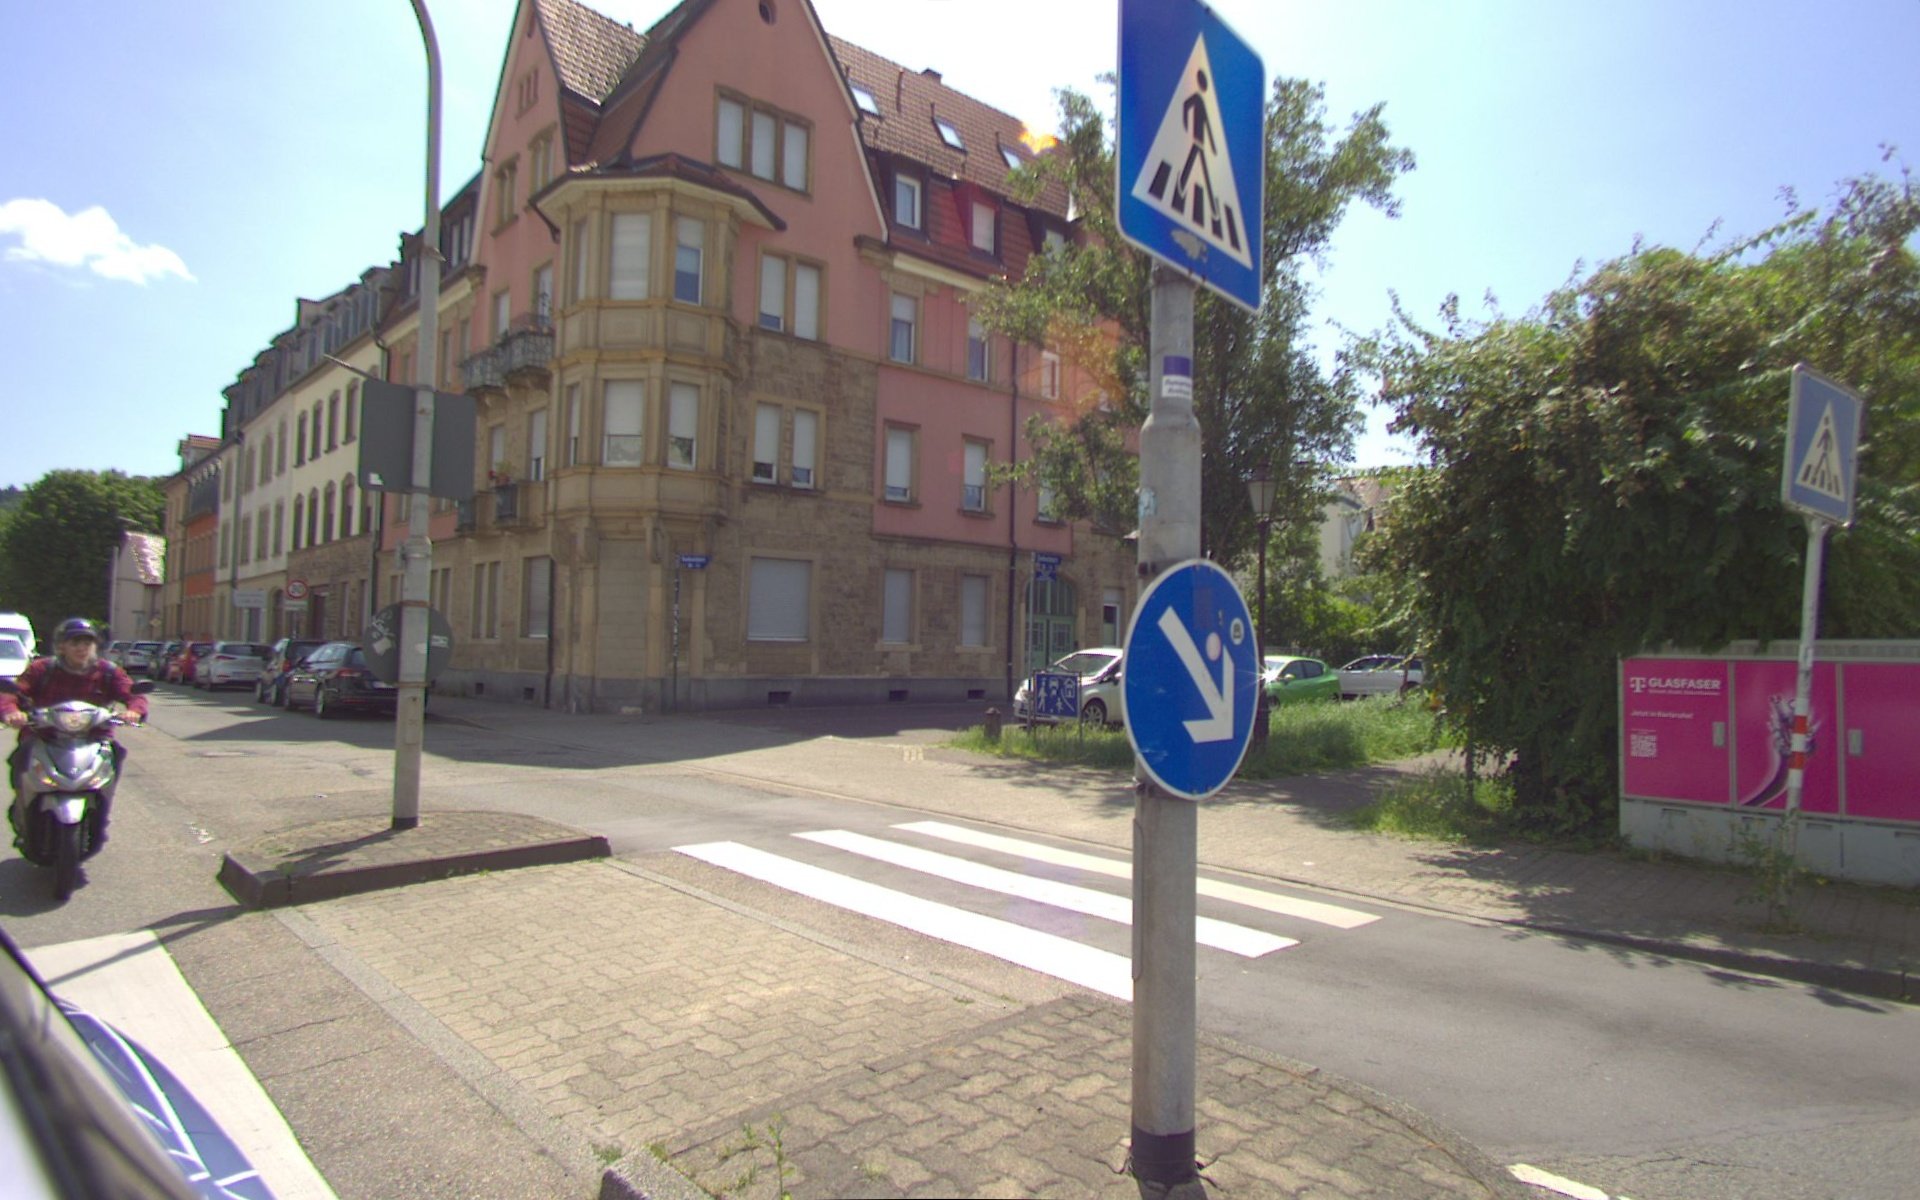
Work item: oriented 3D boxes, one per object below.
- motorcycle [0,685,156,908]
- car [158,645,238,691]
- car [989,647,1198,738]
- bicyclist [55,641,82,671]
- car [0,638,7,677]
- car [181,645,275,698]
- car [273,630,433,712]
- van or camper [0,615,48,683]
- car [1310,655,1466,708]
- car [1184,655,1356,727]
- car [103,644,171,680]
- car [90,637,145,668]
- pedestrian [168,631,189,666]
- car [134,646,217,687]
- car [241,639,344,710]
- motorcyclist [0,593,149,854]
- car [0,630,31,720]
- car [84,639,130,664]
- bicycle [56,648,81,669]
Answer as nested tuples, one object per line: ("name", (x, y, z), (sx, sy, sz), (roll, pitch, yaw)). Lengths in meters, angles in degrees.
("motorcycle", (-5.496, 1.091, 6.121), (1.992, 1.063, 0.749), (-2, -3, 45))
("car", (-25.826, 2.282, 34.262), (3.496, 1.453, 1.580), (-2, -4, 44))
("car", (2.631, 1.692, 19.509), (3.937, 1.514, 1.872), (2, -3, -41))
("bicyclist", (-53.959, 3.370, 61.275), (0.632, 1.776, 1.170), (3, -4, -14))
("car", (-51.768, 3.039, 53.529), (1.970, 2.029, 4.003), (0, -2, -44))
("car", (-21.856, 2.104, 30.178), (1.616, 1.442, 4.021), (5, -5, -44))
("car", (-12.457, 1.376, 20.623), (1.762, 1.469, 4.638), (4, -4, -44))
("van or camper", (-34.524, 1.767, 36.536), (5.145, 2.305, 1.971), (-3, -4, 44))
("car", (13.584, 2.553, 32.267), (4.281, 1.466, 1.650), (-2, -2, 39))
("car", (6.849, 1.941, 22.194), (3.937, 1.409, 1.806), (3, -4, -41))
("car", (-36.630, 2.714, 45.014), (1.856, 1.522, 4.383), (3, -4, -45))
("car", (-42.777, 2.672, 51.379), (3.855, 1.470, 1.691), (-2, -5, 45))
("pedestrian", (-40.435, 2.489, 52.337), (0.764, 1.784, 0.759), (-2, -2, 44))
("car", (-29.747, 2.475, 38.338), (4.219, 1.449, 1.851), (-2, -4, 44))
("car", (-15.521, 1.696, 23.514), (2.697, 1.534, 1.420), (-2, -4, 45))
("motorcyclist", (-5.538, 0.708, 6.176), (1.021, 1.451, 0.782), (-2, -3, 45))
("car", (-18.197, 1.322, 18.327), (4.001, 1.533, 1.787), (-2, -3, 44))
("car", (-51.072, 3.083, 60.596), (3.858, 1.453, 1.708), (-2, -4, 44))
("bicycle", (-53.991, 3.548, 61.301), (0.225, 1.285, 1.888), (3, -4, -15))
